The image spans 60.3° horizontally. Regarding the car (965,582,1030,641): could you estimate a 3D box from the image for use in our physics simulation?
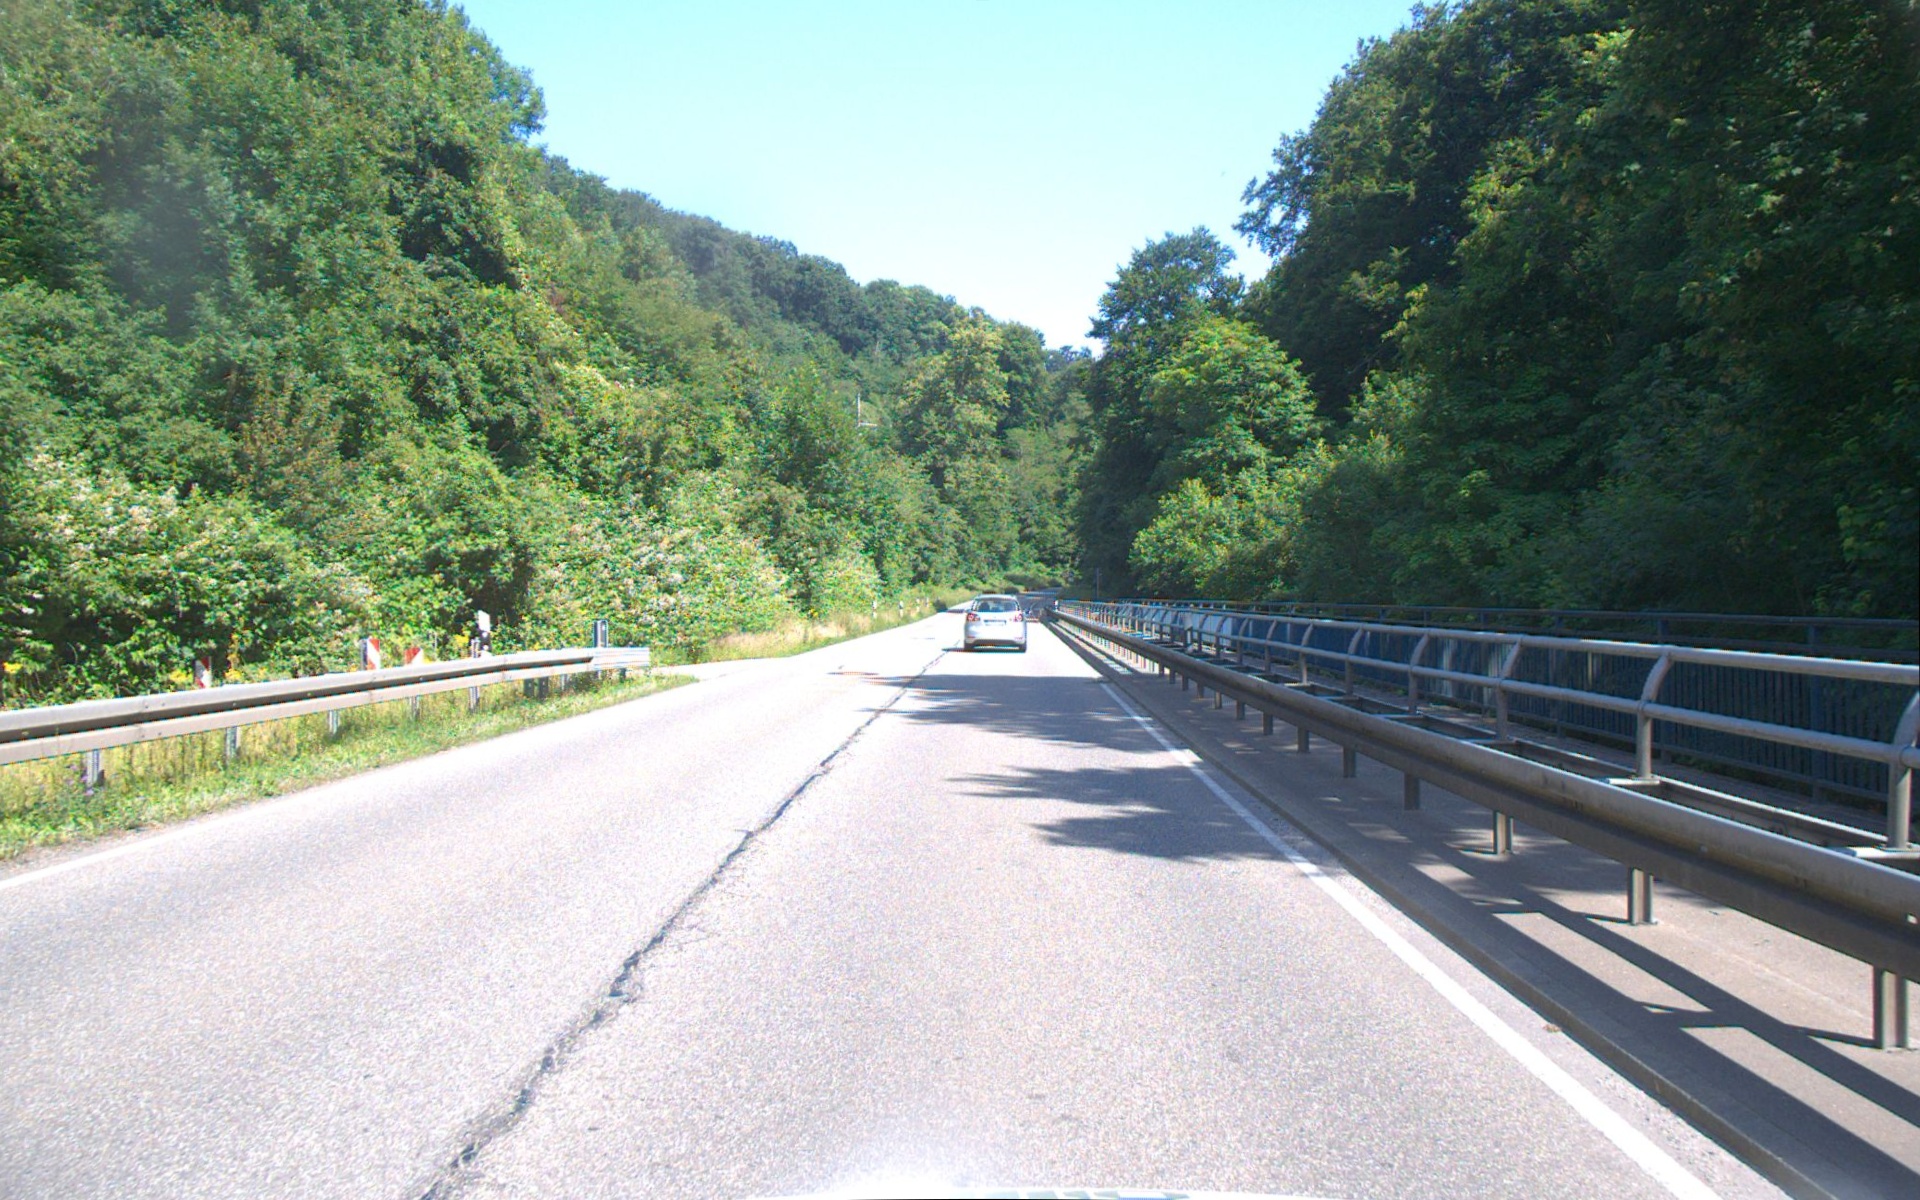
[{"bbox_3d":[1.083,0.329,46.243,1.715,1.546,4.160,1,-1,2],"label":"car"}]
